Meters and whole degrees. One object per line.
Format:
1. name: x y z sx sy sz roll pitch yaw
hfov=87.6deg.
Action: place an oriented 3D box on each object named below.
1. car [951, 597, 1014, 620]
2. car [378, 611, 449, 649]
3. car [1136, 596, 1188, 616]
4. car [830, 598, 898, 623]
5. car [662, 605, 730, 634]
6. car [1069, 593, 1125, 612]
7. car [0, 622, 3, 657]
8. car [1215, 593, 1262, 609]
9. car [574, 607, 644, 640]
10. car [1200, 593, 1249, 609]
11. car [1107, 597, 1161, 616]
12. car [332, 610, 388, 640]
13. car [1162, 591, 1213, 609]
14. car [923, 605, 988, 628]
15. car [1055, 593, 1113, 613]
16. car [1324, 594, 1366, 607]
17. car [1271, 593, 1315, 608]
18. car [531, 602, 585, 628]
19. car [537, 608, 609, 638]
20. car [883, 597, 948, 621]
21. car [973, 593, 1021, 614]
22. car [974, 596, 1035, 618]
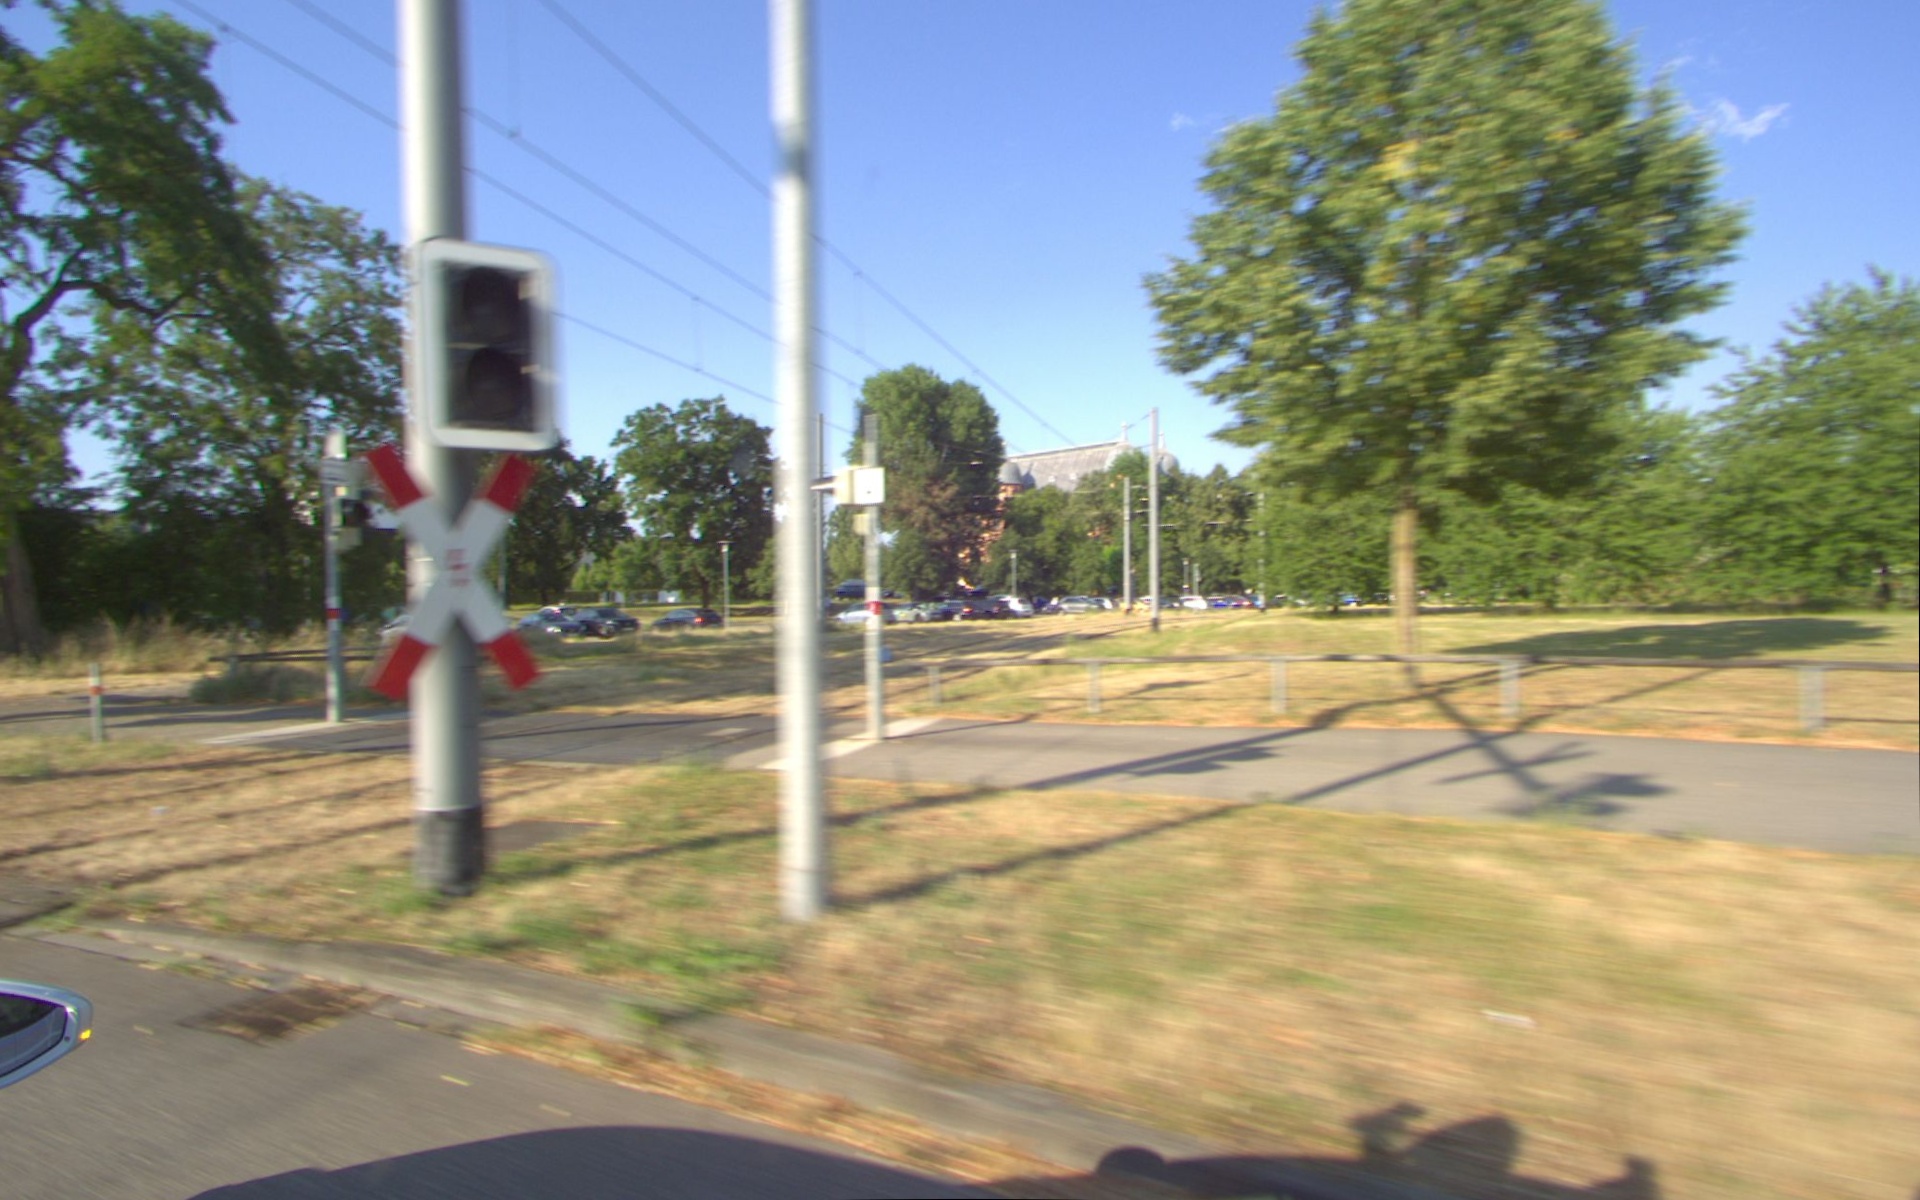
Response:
1. car: 1.491 0.570 66.167 3.956 1.421 1.811 -1 0 43
2. car: -22.245 1.196 40.725 1.590 1.420 3.931 -1 0 -43
3. car: 17.001 0.511 84.333 3.956 1.589 1.811 -1 0 43
4. car: -5.649 0.615 58.832 3.956 1.421 1.811 -1 0 43
5. car: -13.099 0.963 49.528 1.590 1.327 3.931 -1 0 -43
6. car: 10.426 0.205 76.491 3.956 1.421 1.811 -1 0 43
7. car: -35.291 1.407 35.727 1.590 1.196 3.931 -1 0 -43
8. car: 26.240 0.087 94.445 3.956 1.421 1.811 -1 0 43
9. car: -16.276 1.068 46.375 1.590 1.420 3.931 -1 0 -43
10. car: 24.417 0.067 92.530 3.956 1.421 1.811 -1 0 43
11. car: 14.024 0.508 80.663 3.956 1.421 1.811 -1 0 43
12. car: -29.645 1.222 49.444 1.590 1.420 3.931 -1 0 -43
13. car: 19.535 0.016 86.055 3.956 1.421 1.811 -1 0 43
14. car: -0.305 1.046 64.169 3.956 1.421 1.811 -1 0 43
15. car: 9.180 0.237 74.353 3.956 1.421 1.811 -1 0 43
16. car: 43.238 0.049 112.449 3.956 1.421 1.811 -1 0 43
17. car: 34.299 0.045 103.175 3.956 1.421 1.811 -1 0 43
18. car: -23.183 0.844 57.689 1.590 1.420 3.931 -1 0 -43
19. car: -17.080 1.012 44.084 1.590 1.237 3.931 -1 0 -43
20. car: -2.809 0.552 62.572 3.956 1.421 1.811 -1 0 43
21. car: 3.164 0.334 85.998 3.956 1.694 1.811 -1 0 43
22. car: 3.020 0.453 68.248 3.956 1.421 1.811 -1 0 43
